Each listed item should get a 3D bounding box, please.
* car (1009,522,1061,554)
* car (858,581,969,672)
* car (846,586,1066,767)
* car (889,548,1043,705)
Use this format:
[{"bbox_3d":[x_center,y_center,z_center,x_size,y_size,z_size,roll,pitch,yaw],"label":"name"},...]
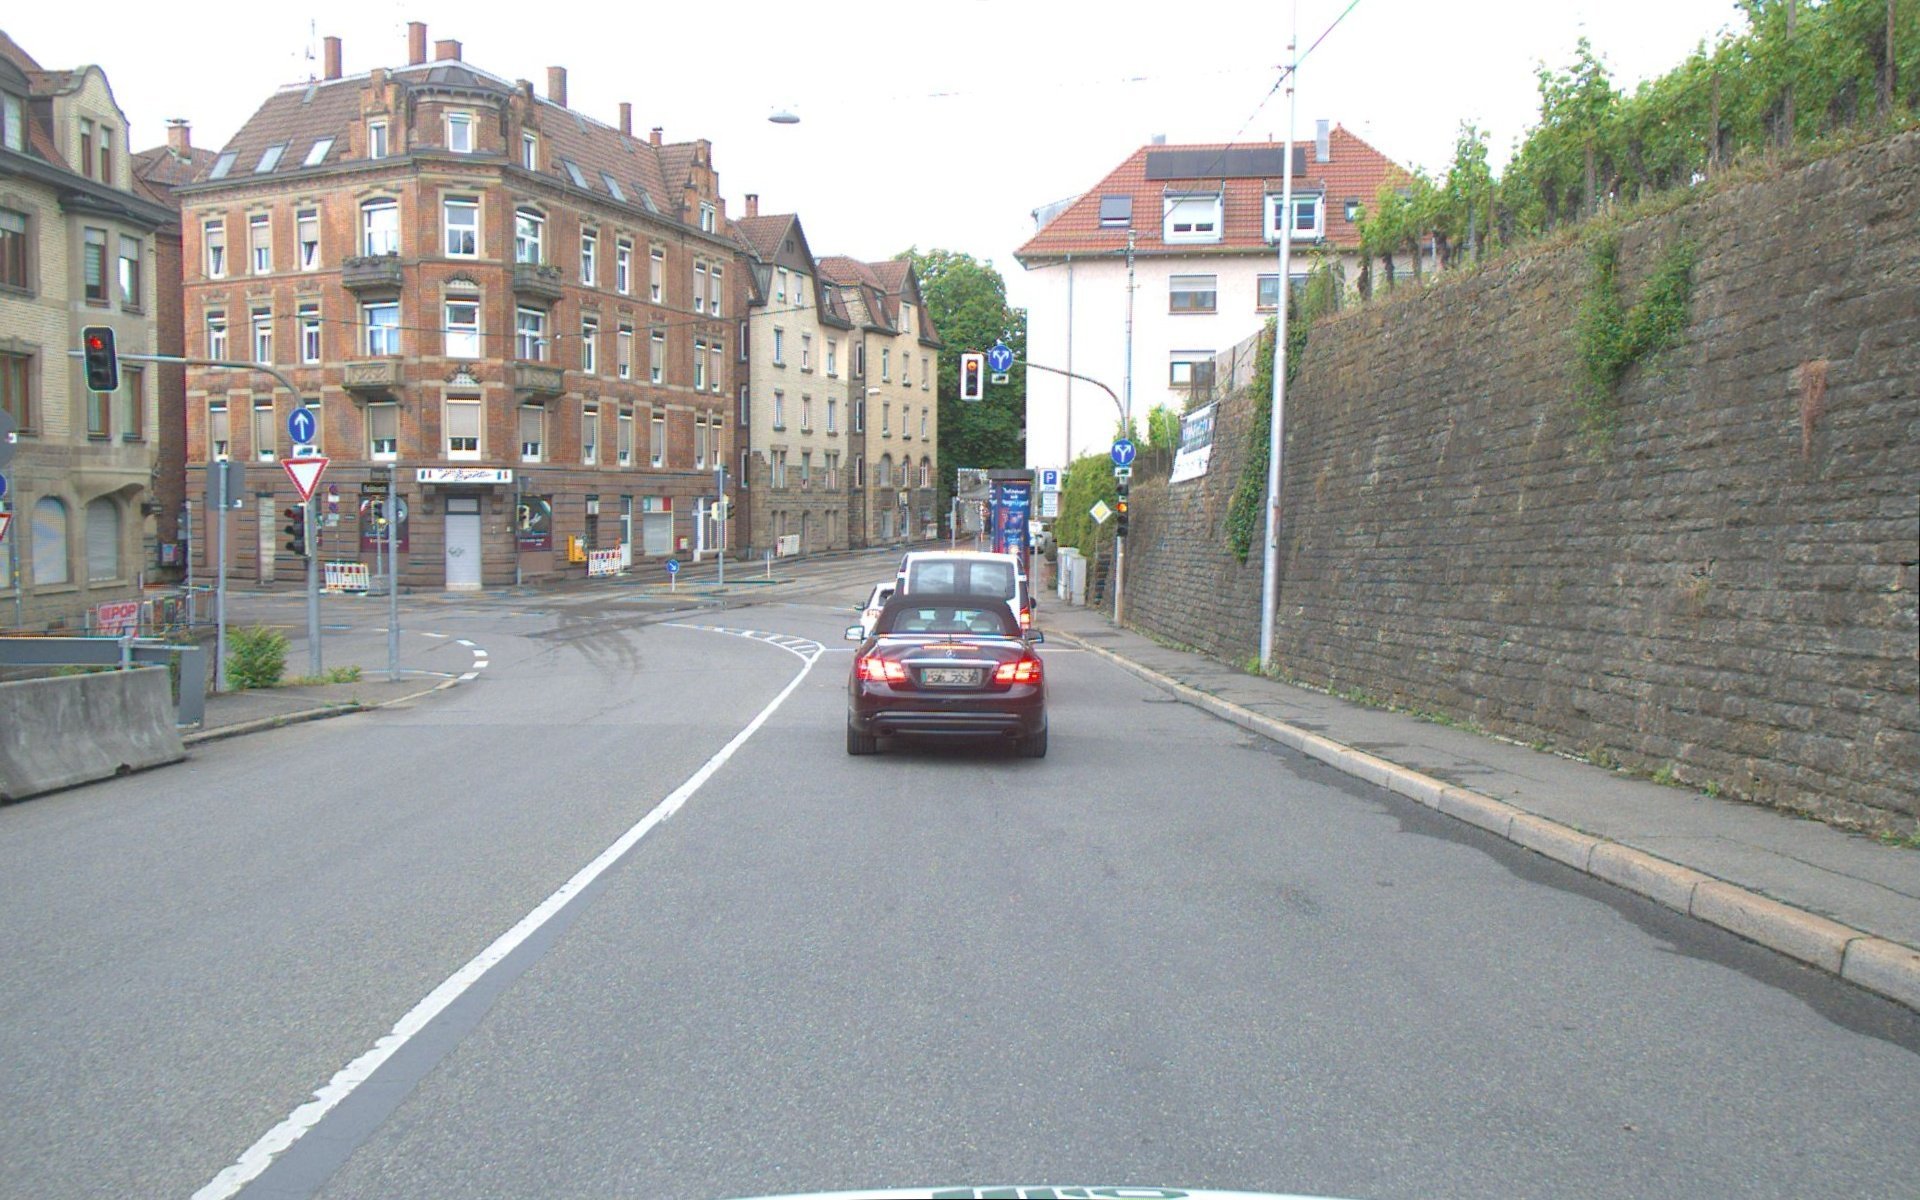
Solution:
[{"bbox_3d":[4.229,-3.461,92.499,1.803,1.731,4.002,1,3,19],"label":"car"},{"bbox_3d":[-0.842,0.413,29.104,1.804,1.466,3.998,1,1,-2],"label":"car"},{"bbox_3d":[-0.105,0.607,15.501,1.780,1.455,3.998,1,0,-2],"label":"car"},{"bbox_3d":[-0.002,0.309,22.440,1.871,1.917,3.998,1,0,-2],"label":"car"}]
